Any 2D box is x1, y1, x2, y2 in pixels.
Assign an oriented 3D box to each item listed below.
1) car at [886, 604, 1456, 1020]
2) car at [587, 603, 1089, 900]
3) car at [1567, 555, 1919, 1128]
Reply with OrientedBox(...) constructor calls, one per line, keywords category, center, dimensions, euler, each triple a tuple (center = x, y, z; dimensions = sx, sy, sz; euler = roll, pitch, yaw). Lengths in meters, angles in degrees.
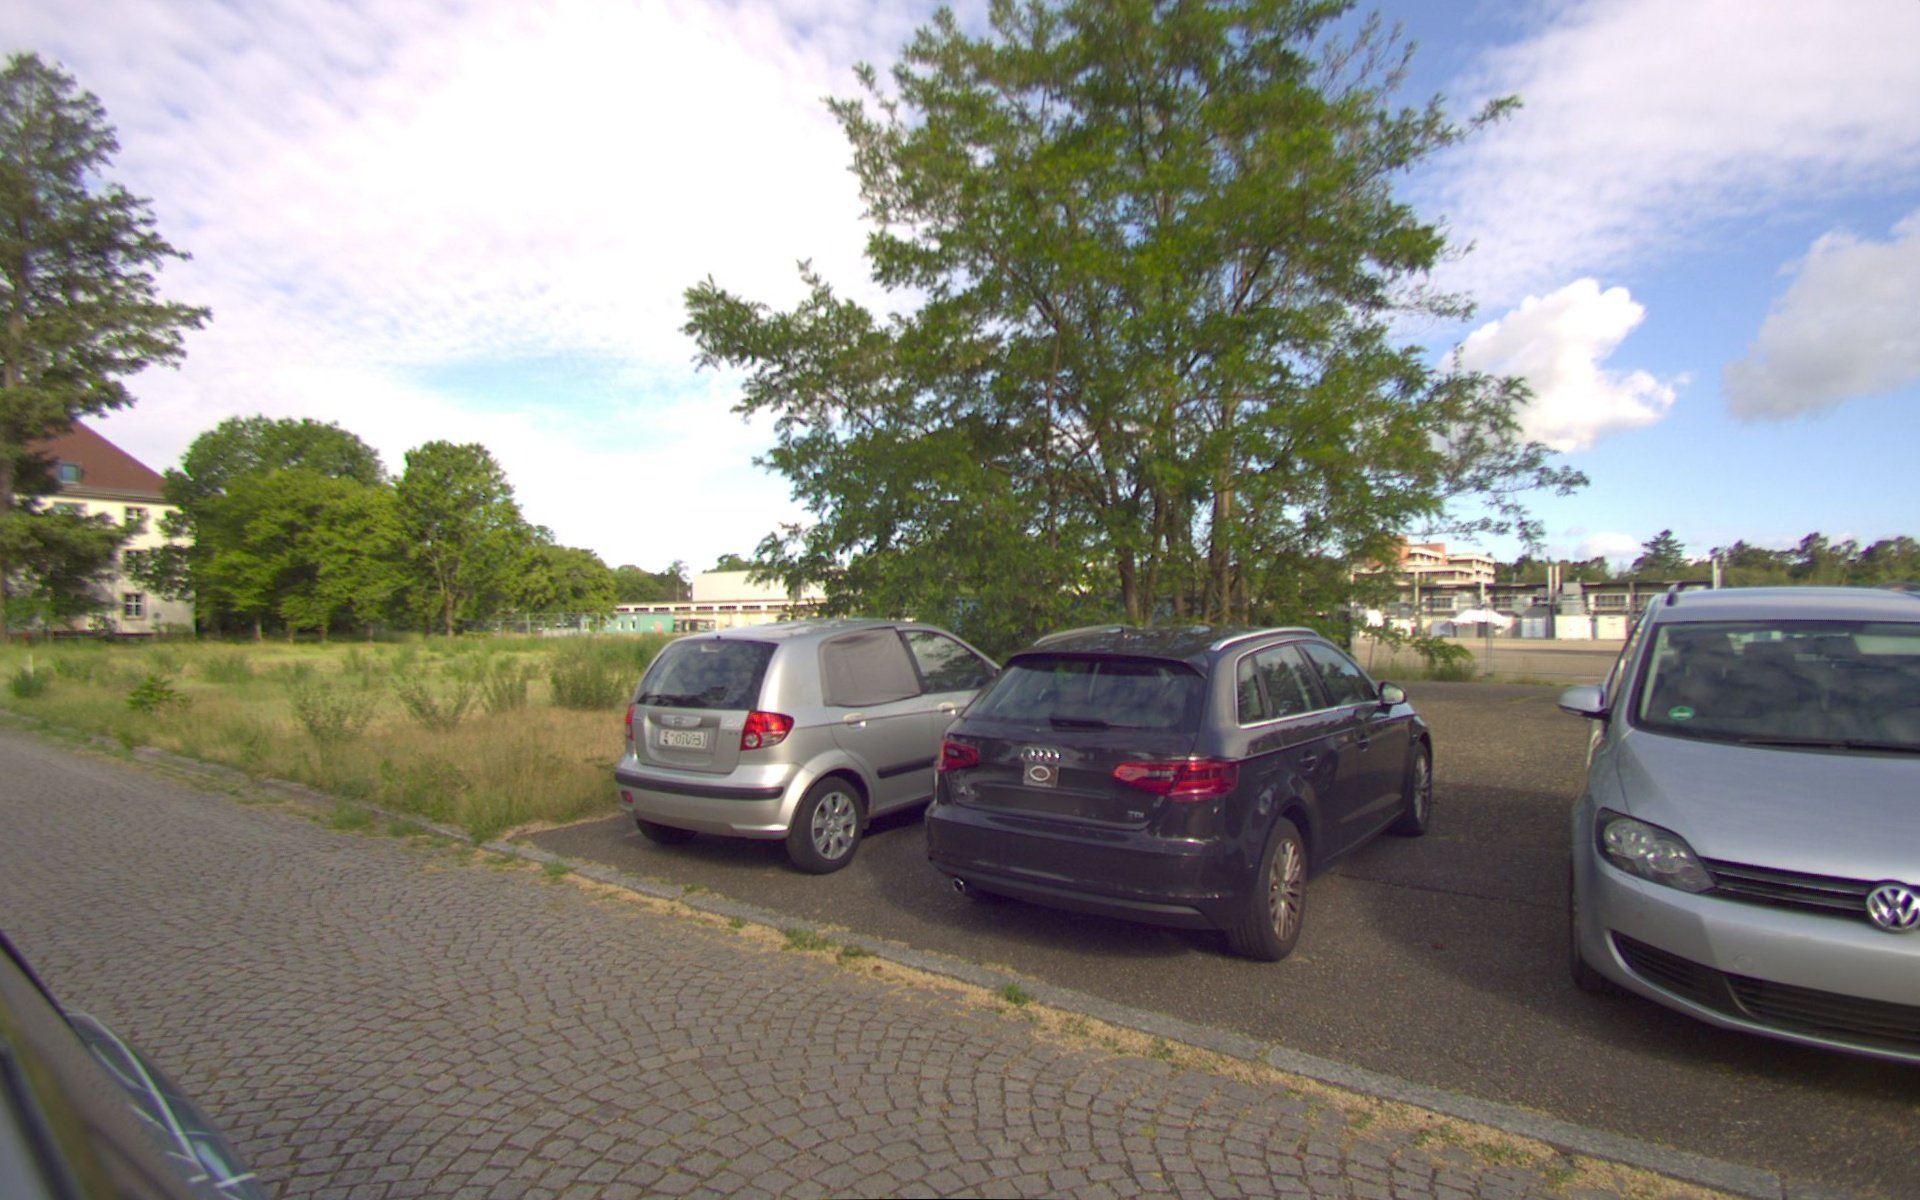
OrientedBox(category="car", center=(1.481, 0.800, 5.745), dimensions=(1.693, 1.419, 3.800), euler=(-1, 1, 37))
OrientedBox(category="car", center=(-0.644, 0.824, 7.333), dimensions=(1.643, 1.487, 3.546), euler=(-1, 1, 35))
OrientedBox(category="car", center=(3.809, 0.646, 4.394), dimensions=(1.732, 1.619, 3.798), euler=(-1, 0, 35))
